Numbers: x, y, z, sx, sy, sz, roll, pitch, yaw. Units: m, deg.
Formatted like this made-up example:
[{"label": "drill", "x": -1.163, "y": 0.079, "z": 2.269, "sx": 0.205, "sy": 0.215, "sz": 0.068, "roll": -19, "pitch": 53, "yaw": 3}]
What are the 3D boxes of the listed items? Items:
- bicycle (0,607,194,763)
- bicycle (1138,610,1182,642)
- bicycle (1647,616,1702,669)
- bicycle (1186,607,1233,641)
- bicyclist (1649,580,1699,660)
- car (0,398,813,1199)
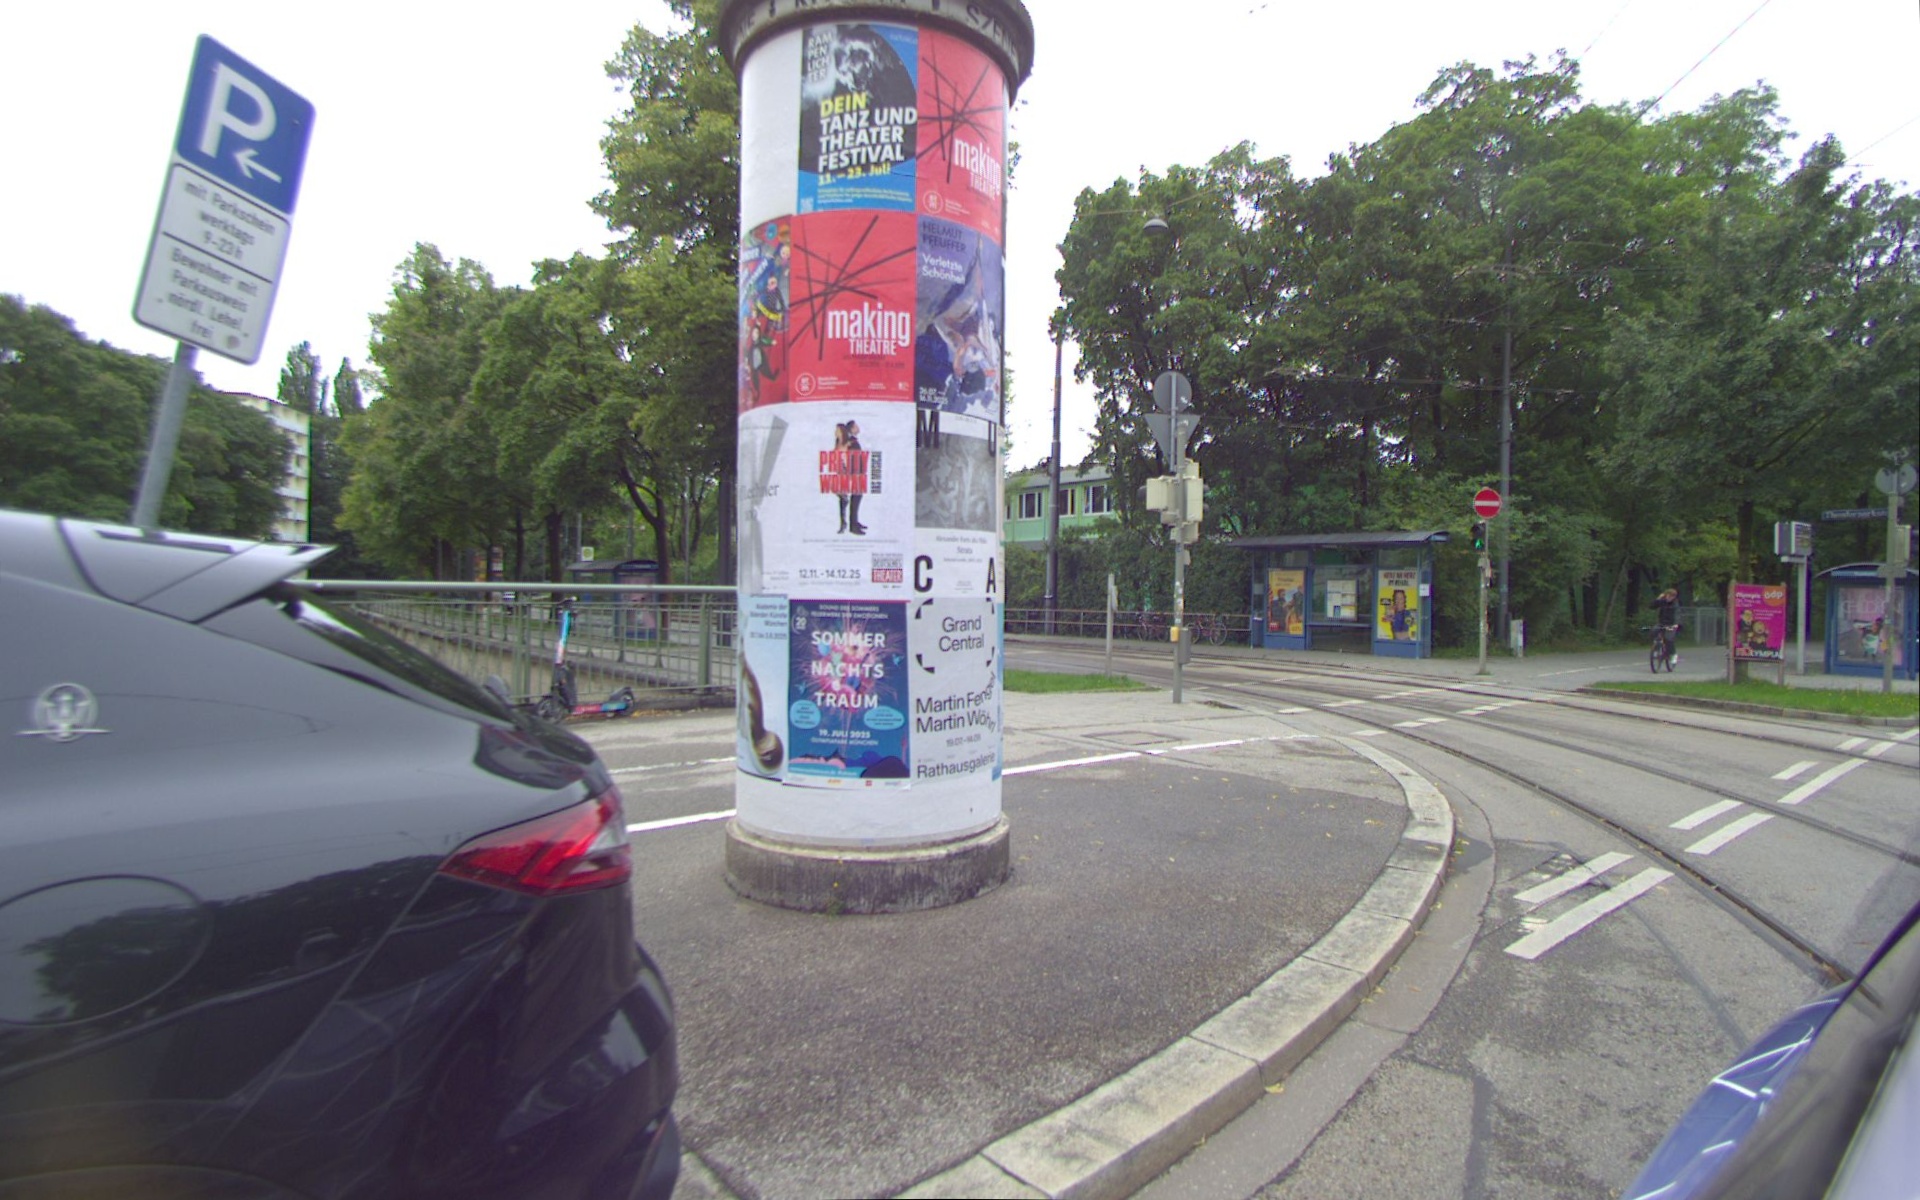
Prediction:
[{"label": "bicycle", "x": -6.728, "y": 0.610, "z": 7.625, "sx": 0.263, "sy": 1.096, "sz": 1.523, "roll": -1, "pitch": -1, "yaw": 35}, {"label": "bicycle", "x": 6.264, "y": 0.798, "z": 31.755, "sx": 0.366, "sy": 0.964, "sz": 1.484, "roll": 0, "pitch": 1, "yaw": -37}, {"label": "bicycle", "x": 15.907, "y": 0.916, "z": 22.512, "sx": 1.879, "sy": 1.092, "sz": 0.579, "roll": 0, "pitch": -1, "yaw": -42}, {"label": "bicycle", "x": 7.422, "y": 0.704, "z": 30.146, "sx": 0.366, "sy": 0.964, "sz": 1.484, "roll": 0, "pitch": 1, "yaw": -37}, {"label": "bicyclist", "x": 15.887, "y": 0.440, "z": 22.525, "sx": 0.714, "sy": 1.751, "sz": 0.725, "roll": 0, "pitch": -1, "yaw": -41}, {"label": "car", "x": -2.601, "y": 0.611, "z": 0.930, "sx": 4.581, "sy": 1.630, "sz": 1.905, "roll": 0, "pitch": -1, "yaw": -39}]
